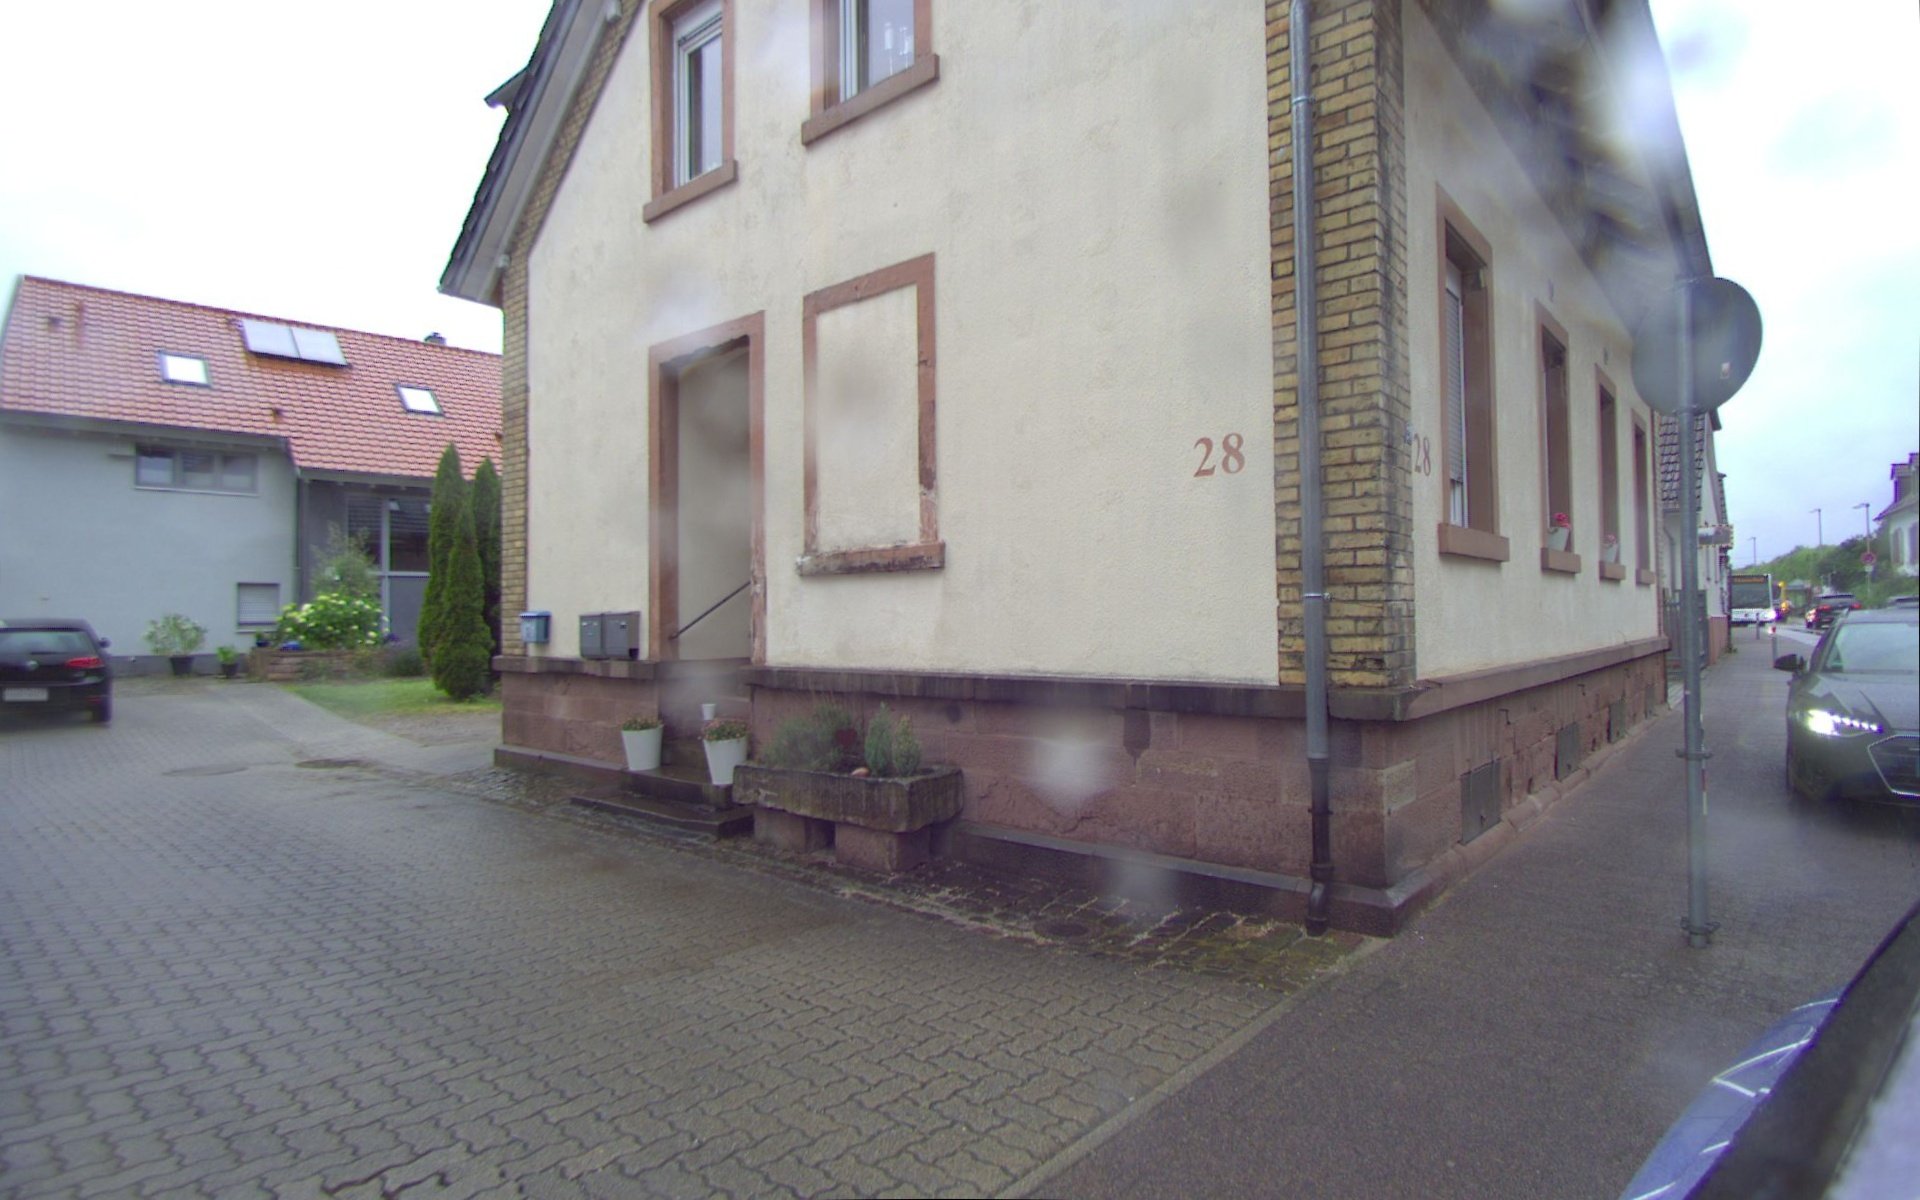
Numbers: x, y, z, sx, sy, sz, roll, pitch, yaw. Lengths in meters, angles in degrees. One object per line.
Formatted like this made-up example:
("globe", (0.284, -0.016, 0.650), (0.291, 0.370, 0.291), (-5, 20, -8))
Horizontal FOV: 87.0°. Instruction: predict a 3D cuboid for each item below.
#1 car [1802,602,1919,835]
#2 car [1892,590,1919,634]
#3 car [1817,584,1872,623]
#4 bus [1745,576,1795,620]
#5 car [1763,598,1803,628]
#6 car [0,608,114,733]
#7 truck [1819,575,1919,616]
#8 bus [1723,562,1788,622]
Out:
("car", (7.430, 0.730, 7.539), (1.732, 1.388, 4.043), (0, 0, 39))
("car", (35.513, 0.379, 37.198), (1.620, 1.531, 3.737), (-5, -3, 41))
("car", (42.065, 0.137, 48.202), (1.778, 1.686, 4.362), (-3, -1, 40))
("bus", (64.487, -0.208, 80.740), (2.654, 3.273, 12.032), (0, 1, 36))
("car", (58.967, 0.906, 72.583), (1.988, 2.039, 3.949), (0, 0, 36))
("car", (-13.856, 0.952, 15.194), (1.655, 1.491, 3.994), (0, 2, -42))
("truck", (58.409, -0.263, 64.219), (5.566, 2.536, 1.992), (0, 0, 14))
("bus", (47.339, -0.508, 60.459), (2.654, 3.273, 12.032), (0, 1, 36))
